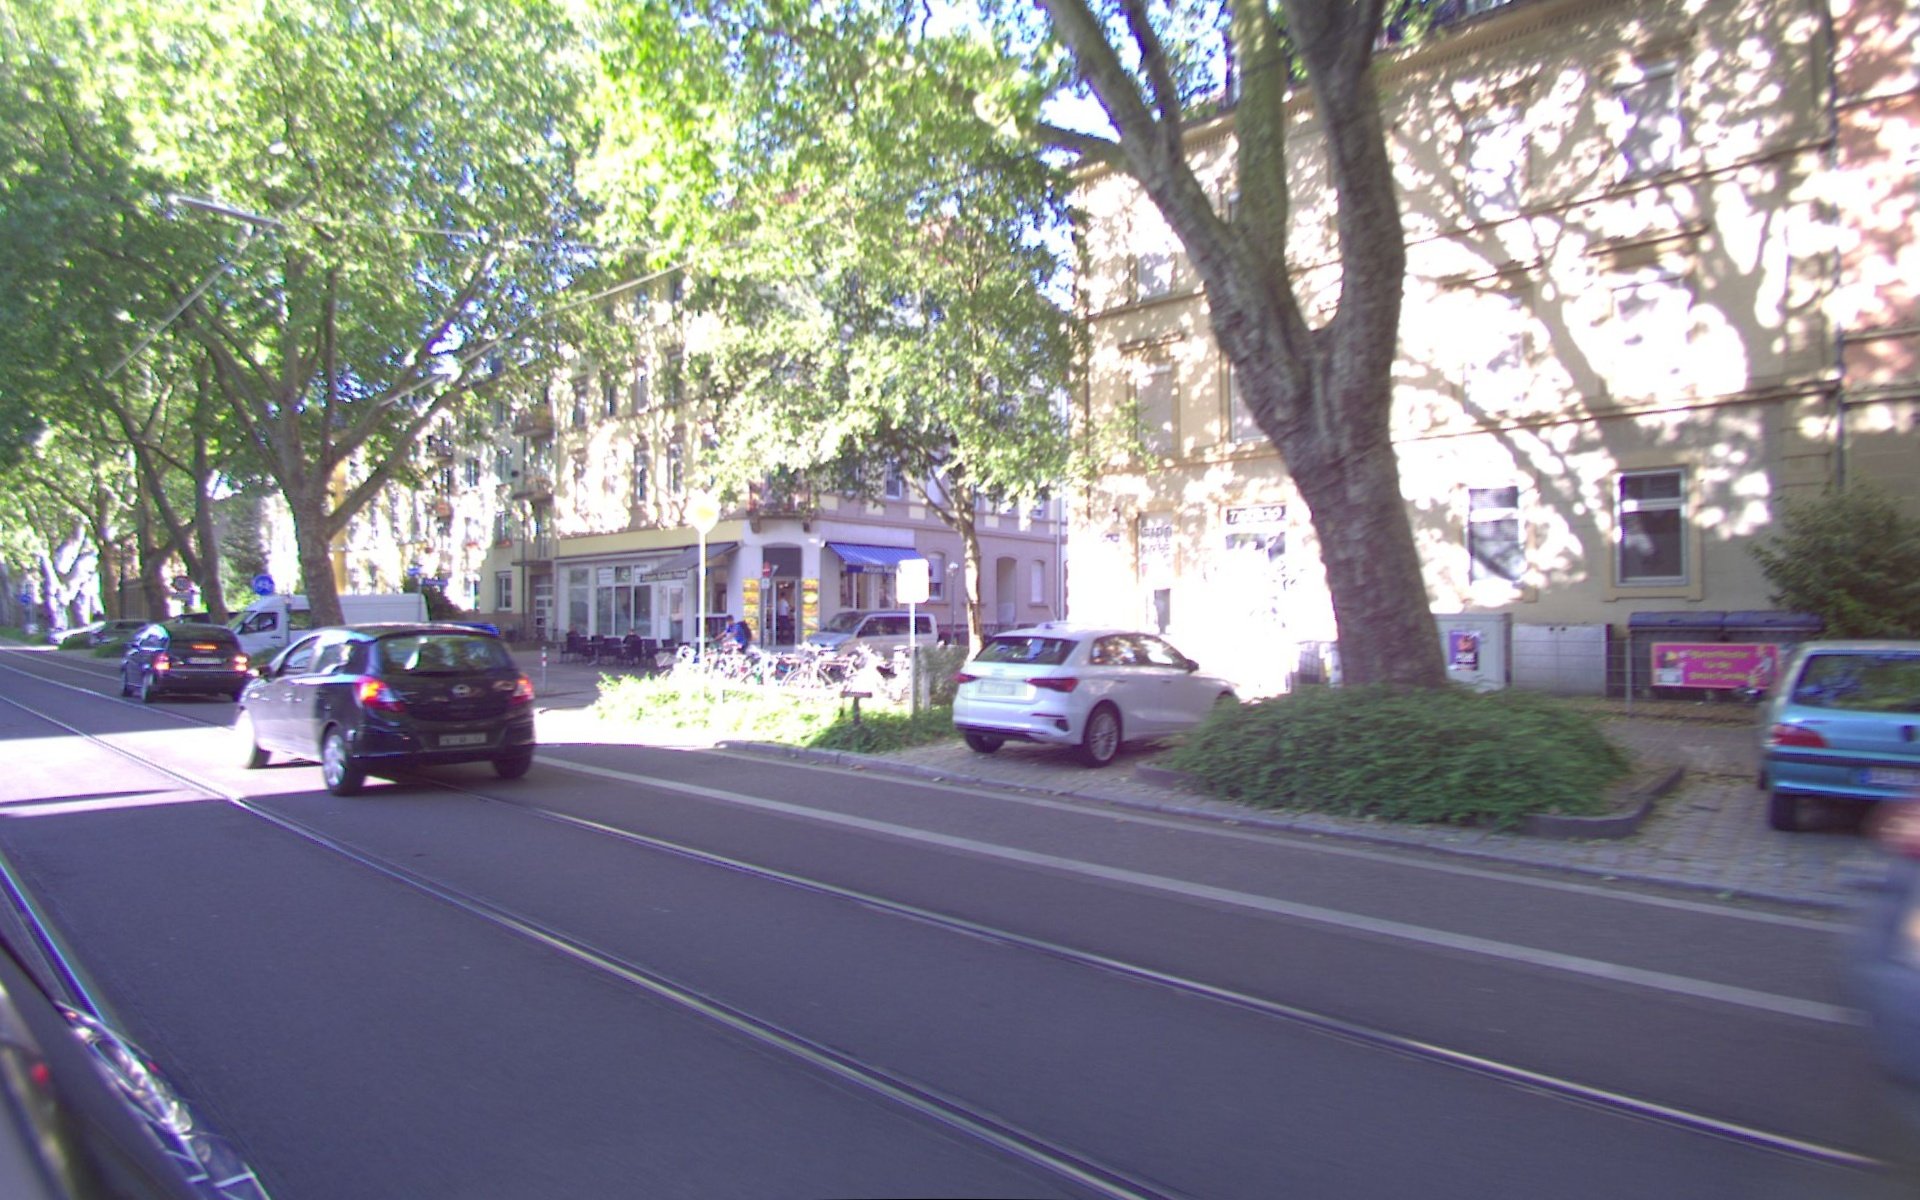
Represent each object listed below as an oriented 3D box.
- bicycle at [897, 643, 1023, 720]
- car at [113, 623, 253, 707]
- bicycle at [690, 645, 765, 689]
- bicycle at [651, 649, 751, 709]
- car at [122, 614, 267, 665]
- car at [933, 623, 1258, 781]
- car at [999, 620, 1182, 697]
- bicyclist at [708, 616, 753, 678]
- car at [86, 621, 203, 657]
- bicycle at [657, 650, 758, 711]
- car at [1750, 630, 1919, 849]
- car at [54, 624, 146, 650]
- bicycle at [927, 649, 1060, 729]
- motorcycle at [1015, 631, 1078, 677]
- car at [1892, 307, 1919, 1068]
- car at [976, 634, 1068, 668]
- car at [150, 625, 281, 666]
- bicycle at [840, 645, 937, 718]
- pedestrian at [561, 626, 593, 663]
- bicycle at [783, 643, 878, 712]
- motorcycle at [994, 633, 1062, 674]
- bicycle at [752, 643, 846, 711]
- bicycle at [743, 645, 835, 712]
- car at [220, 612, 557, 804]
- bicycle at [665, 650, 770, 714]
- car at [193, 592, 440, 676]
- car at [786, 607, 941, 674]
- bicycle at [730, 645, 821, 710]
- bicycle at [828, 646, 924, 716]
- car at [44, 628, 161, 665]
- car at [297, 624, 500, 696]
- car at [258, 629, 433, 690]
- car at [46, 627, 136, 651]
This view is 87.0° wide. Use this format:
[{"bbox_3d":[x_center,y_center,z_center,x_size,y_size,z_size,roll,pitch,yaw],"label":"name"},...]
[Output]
[{"bbox_3d":[0.013,1.218,15.469,1.892,1.096,0.599,1,-2,-30],"label":"bicycle"},{"bbox_3d":[-15.485,1.233,20.112,3.692,1.521,1.617,-2,-3,44],"label":"car"},{"bbox_3d":[-5.869,1.668,25.621,0.628,1.039,1.852,-2,-2,39],"label":"bicycle"},{"bbox_3d":[-5.005,1.513,19.614,1.830,1.096,0.397,1,-2,-30],"label":"bicycle"},{"bbox_3d":[-32.373,1.632,42.912,1.921,1.922,4.580,-2,-1,40],"label":"car"},{"bbox_3d":[1.702,1.015,11.697,1.878,1.471,3.945,-1,-2,41],"label":"car"},{"bbox_3d":[2.681,1.159,21.146,3.485,1.471,1.583,-1,-2,39],"label":"car"},{"bbox_3d":[-5.831,1.181,25.729,0.736,1.538,0.858,-2,-2,39],"label":"bicyclist"},{"bbox_3d":[-41.002,1.938,50.935,1.999,1.625,4.309,-2,-1,42],"label":"car"},{"bbox_3d":[-4.787,1.512,19.242,1.830,1.096,0.397,1,-2,-30],"label":"bicycle"},{"bbox_3d":[7.382,0.938,8.017,1.602,1.379,3.951,-1,-2,36],"label":"car"},{"bbox_3d":[-50.888,2.171,59.943,1.599,1.442,3.948,-1,-1,38],"label":"car"},{"bbox_3d":[0.468,1.235,14.272,1.775,1.051,0.599,0,-2,-21],"label":"bicycle"},{"bbox_3d":[2.468,1.529,29.035,0.581,1.271,1.877,1,-2,-43],"label":"motorcycle"},{"bbox_3d":[4.531,0.279,1.151,4.956,2.244,1.898,-1,-4,40],"label":"car"},{"bbox_3d":[2.349,1.875,37.831,1.756,1.186,3.350,-2,-2,43],"label":"car"},{"bbox_3d":[-30.294,1.822,41.258,1.869,1.456,4.015,-2,-1,42],"label":"car"},{"bbox_3d":[-1.131,1.273,16.136,1.536,1.096,0.397,1,-2,-30],"label":"bicycle"},{"bbox_3d":[-13.351,1.542,35.253,0.930,1.250,0.699,-2,-2,44],"label":"pedestrian"},{"bbox_3d":[-2.158,1.273,16.971,1.536,1.096,0.397,1,-2,-30],"label":"bicycle"},{"bbox_3d":[1.877,1.472,28.097,1.830,1.080,0.526,-1,-2,29],"label":"motorcycle"},{"bbox_3d":[-2.730,1.284,17.198,1.536,1.096,0.397,1,-2,-30],"label":"bicycle"},{"bbox_3d":[-2.964,1.350,17.581,1.536,1.096,0.397,1,-2,-30],"label":"bicycle"},{"bbox_3d":[-5.669,0.899,9.874,3.720,1.521,1.700,-1,-2,41],"label":"car"},{"bbox_3d":[-4.438,1.488,18.601,1.830,1.096,0.397,1,-2,-30],"label":"bicycle"},{"bbox_3d":[-20.923,1.034,33.234,1.999,2.426,6.532,-2,-1,42],"label":"car"},{"bbox_3d":[-2.974,1.206,31.813,2.130,1.894,4.520,2,1,44],"label":"car"},{"bbox_3d":[-3.258,1.354,17.945,1.536,1.096,0.397,1,-2,-30],"label":"bicycle"},{"bbox_3d":[-1.368,1.306,16.572,1.536,1.096,0.397,1,-2,-30],"label":"bicycle"},{"bbox_3d":[-43.590,2.317,51.494,1.999,1.625,4.309,-2,-1,42],"label":"car"},{"bbox_3d":[-14.564,1.483,26.440,1.814,1.725,4.278,-1,-2,38],"label":"car"},{"bbox_3d":[-16.811,1.571,27.828,1.746,1.529,3.732,-1,-2,38],"label":"car"},{"bbox_3d":[-52.848,2.330,61.597,1.410,1.385,3.948,-1,-1,38],"label":"car"}]
